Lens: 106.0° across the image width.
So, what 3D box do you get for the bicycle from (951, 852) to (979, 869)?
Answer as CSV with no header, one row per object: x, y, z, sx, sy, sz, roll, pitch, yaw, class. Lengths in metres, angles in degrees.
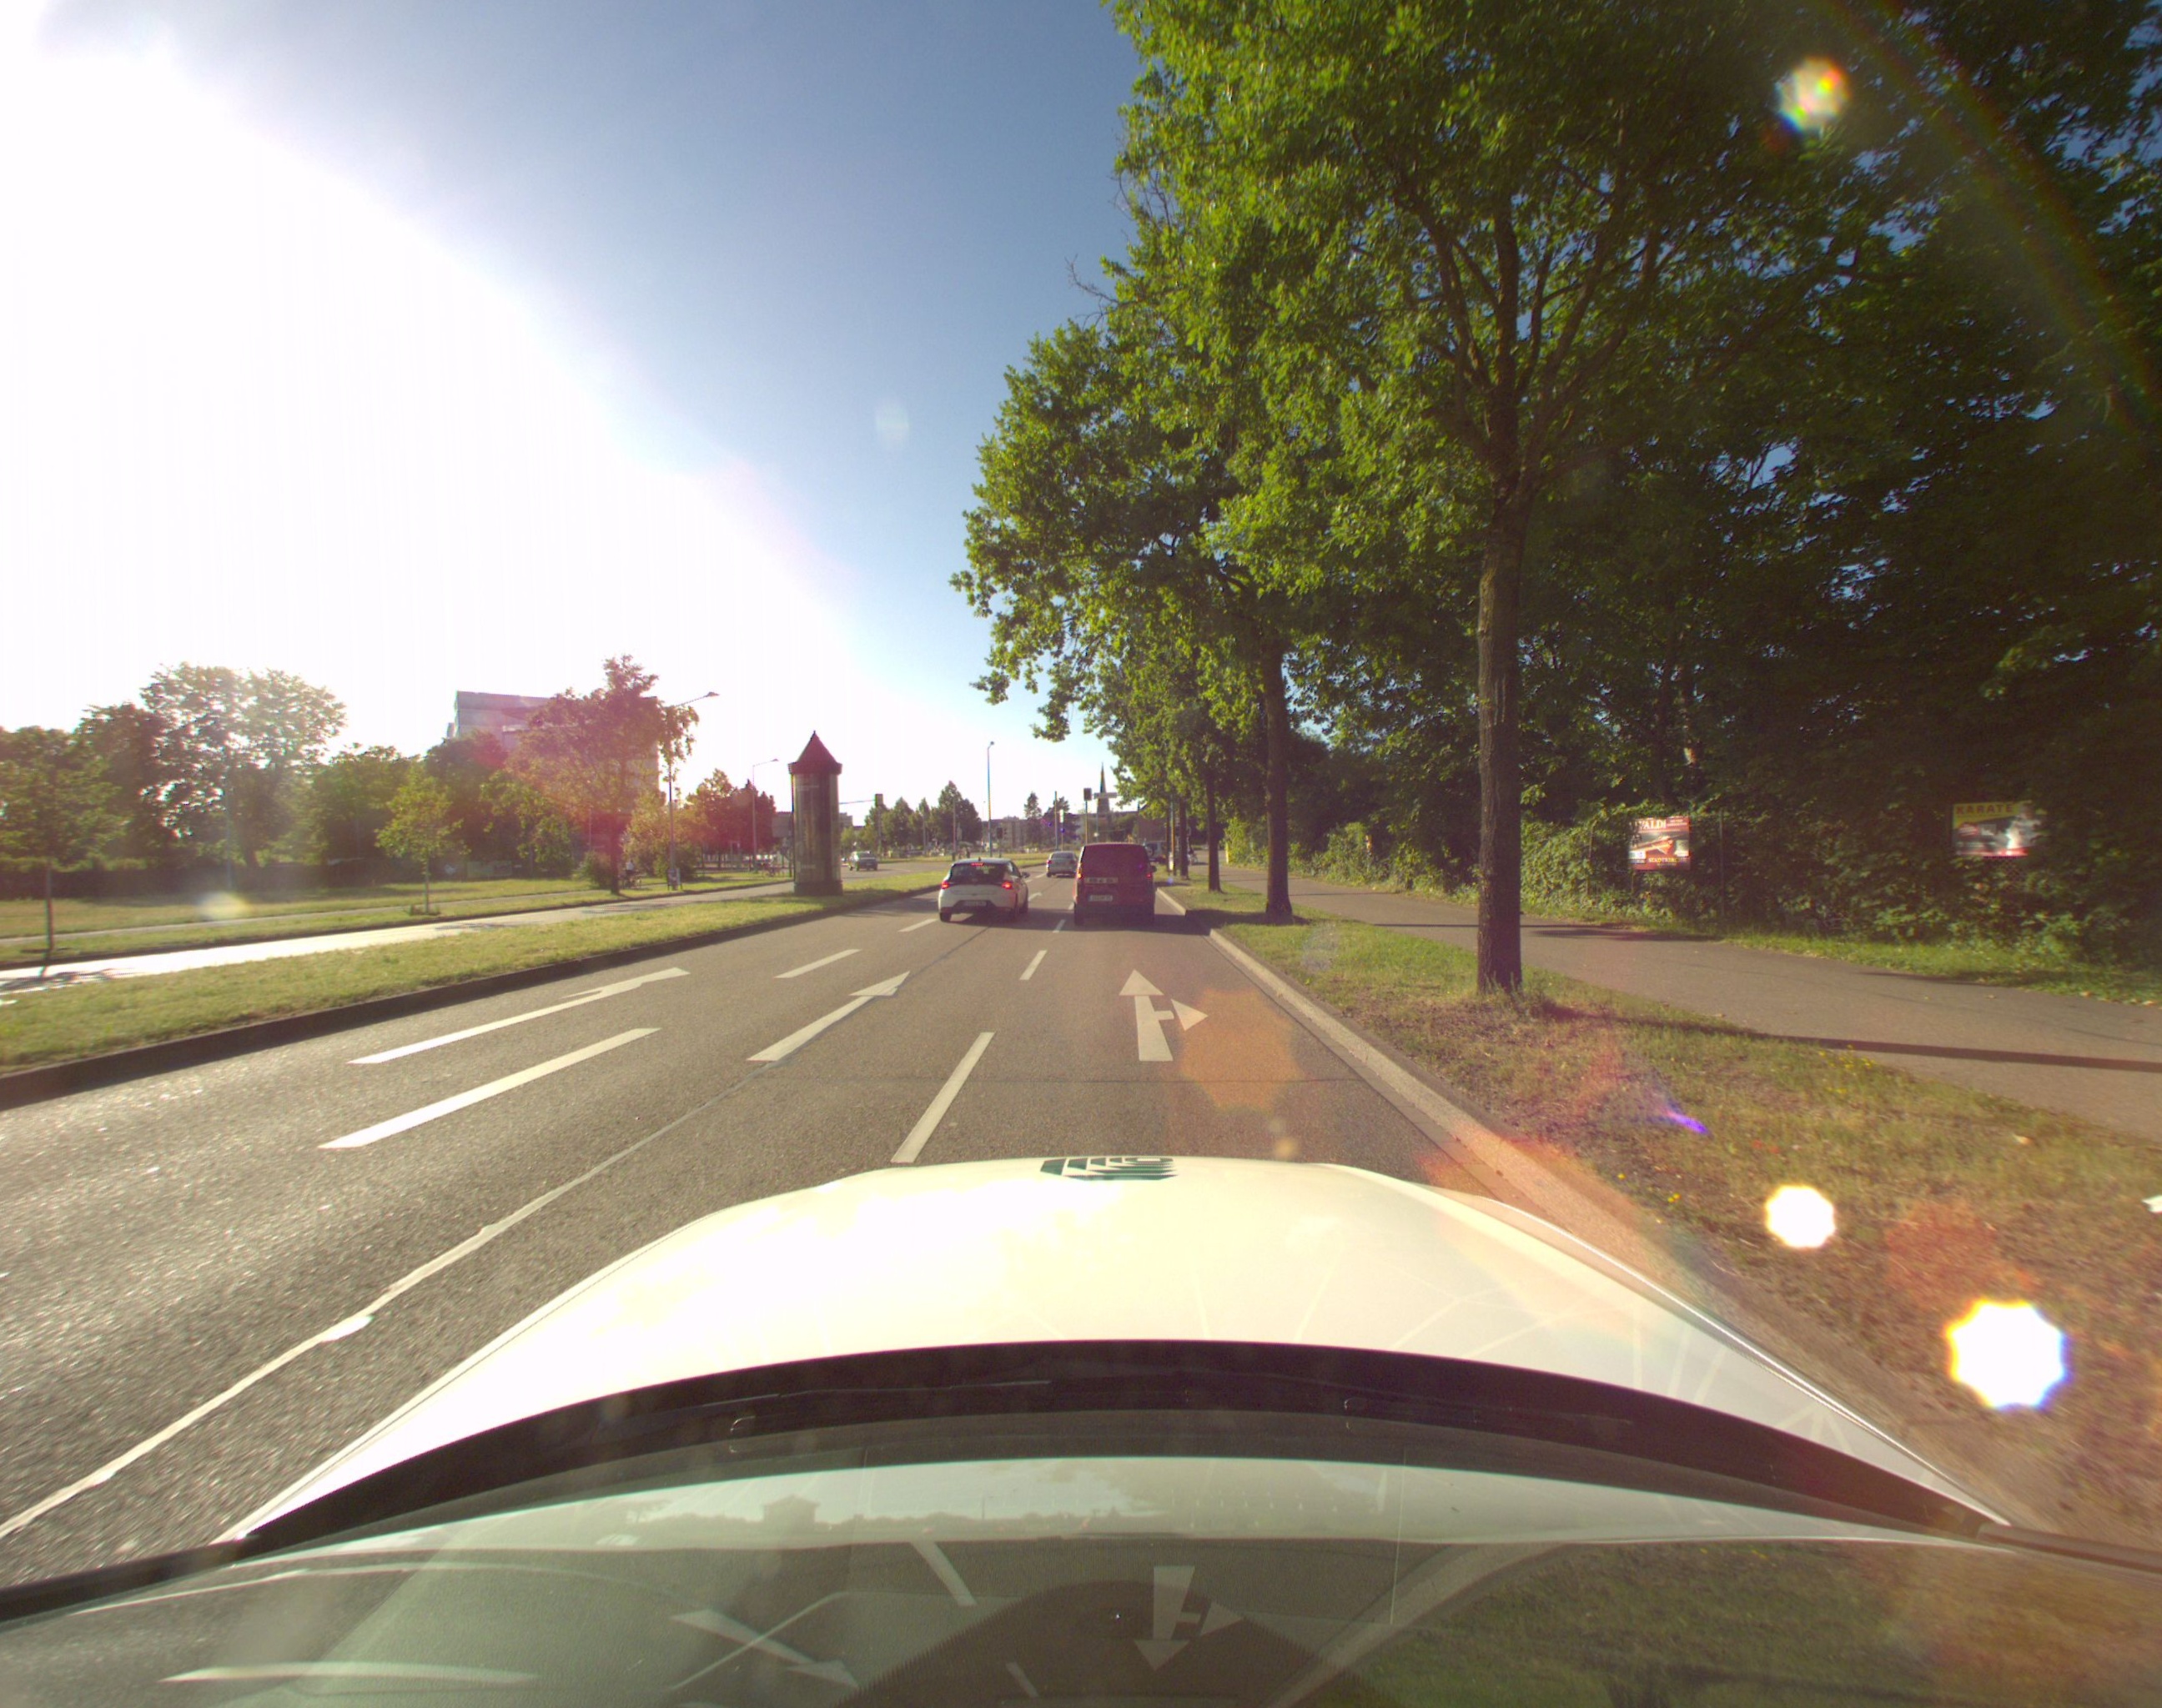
-8.598,0.491,60.559,1.952,1.166,0.517,-2,0,0,bicycle

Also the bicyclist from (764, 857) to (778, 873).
-23.244,0.823,60.974,0.729,1.107,0.607,-2,0,14,bicyclist

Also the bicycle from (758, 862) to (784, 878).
-23.186,1.181,60.963,1.714,1.107,0.607,-2,0,14,bicycle

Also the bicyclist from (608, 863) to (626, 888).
-26.160,1.200,45.902,0.480,1.394,0.844,-2,0,1,bicyclist

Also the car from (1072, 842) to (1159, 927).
0.773,0.608,19.017,1.799,1.759,4.008,0,1,2,car

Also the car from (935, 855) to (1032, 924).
-2.270,0.782,19.971,1.772,1.408,4.076,-1,1,1,car

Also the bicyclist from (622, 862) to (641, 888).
-24.959,1.161,45.241,0.560,1.392,0.747,-2,0,1,bicyclist

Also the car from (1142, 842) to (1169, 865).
6.081,-0.078,66.152,1.648,1.761,3.511,-2,0,13,car

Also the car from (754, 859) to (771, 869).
-60.319,1.852,154.081,1.831,1.705,3.954,0,0,-39,car

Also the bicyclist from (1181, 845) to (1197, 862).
8.334,-0.042,62.810,0.974,1.249,0.781,-2,0,-30,bicyclist

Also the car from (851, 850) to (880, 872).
-19.547,0.609,73.849,1.643,1.876,3.964,-2,0,-28,car

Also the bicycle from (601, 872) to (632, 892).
-26.152,1.559,45.861,0.485,1.003,2.096,-2,0,1,bicycle

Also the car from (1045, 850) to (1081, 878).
-1.019,0.548,47.293,1.834,1.456,4.165,0,1,2,car

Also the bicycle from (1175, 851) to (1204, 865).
8.385,0.318,62.839,2.133,0.958,0.781,-2,0,-31,bicycle

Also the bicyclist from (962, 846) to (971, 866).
-8.511,0.157,60.559,0.601,1.468,0.517,-2,0,0,bicyclist

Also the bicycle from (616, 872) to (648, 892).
-24.949,1.530,45.255,0.568,1.003,2.096,-2,0,1,bicycle

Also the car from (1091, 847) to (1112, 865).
1.712,0.182,68.443,1.655,1.398,3.560,-2,1,2,car
